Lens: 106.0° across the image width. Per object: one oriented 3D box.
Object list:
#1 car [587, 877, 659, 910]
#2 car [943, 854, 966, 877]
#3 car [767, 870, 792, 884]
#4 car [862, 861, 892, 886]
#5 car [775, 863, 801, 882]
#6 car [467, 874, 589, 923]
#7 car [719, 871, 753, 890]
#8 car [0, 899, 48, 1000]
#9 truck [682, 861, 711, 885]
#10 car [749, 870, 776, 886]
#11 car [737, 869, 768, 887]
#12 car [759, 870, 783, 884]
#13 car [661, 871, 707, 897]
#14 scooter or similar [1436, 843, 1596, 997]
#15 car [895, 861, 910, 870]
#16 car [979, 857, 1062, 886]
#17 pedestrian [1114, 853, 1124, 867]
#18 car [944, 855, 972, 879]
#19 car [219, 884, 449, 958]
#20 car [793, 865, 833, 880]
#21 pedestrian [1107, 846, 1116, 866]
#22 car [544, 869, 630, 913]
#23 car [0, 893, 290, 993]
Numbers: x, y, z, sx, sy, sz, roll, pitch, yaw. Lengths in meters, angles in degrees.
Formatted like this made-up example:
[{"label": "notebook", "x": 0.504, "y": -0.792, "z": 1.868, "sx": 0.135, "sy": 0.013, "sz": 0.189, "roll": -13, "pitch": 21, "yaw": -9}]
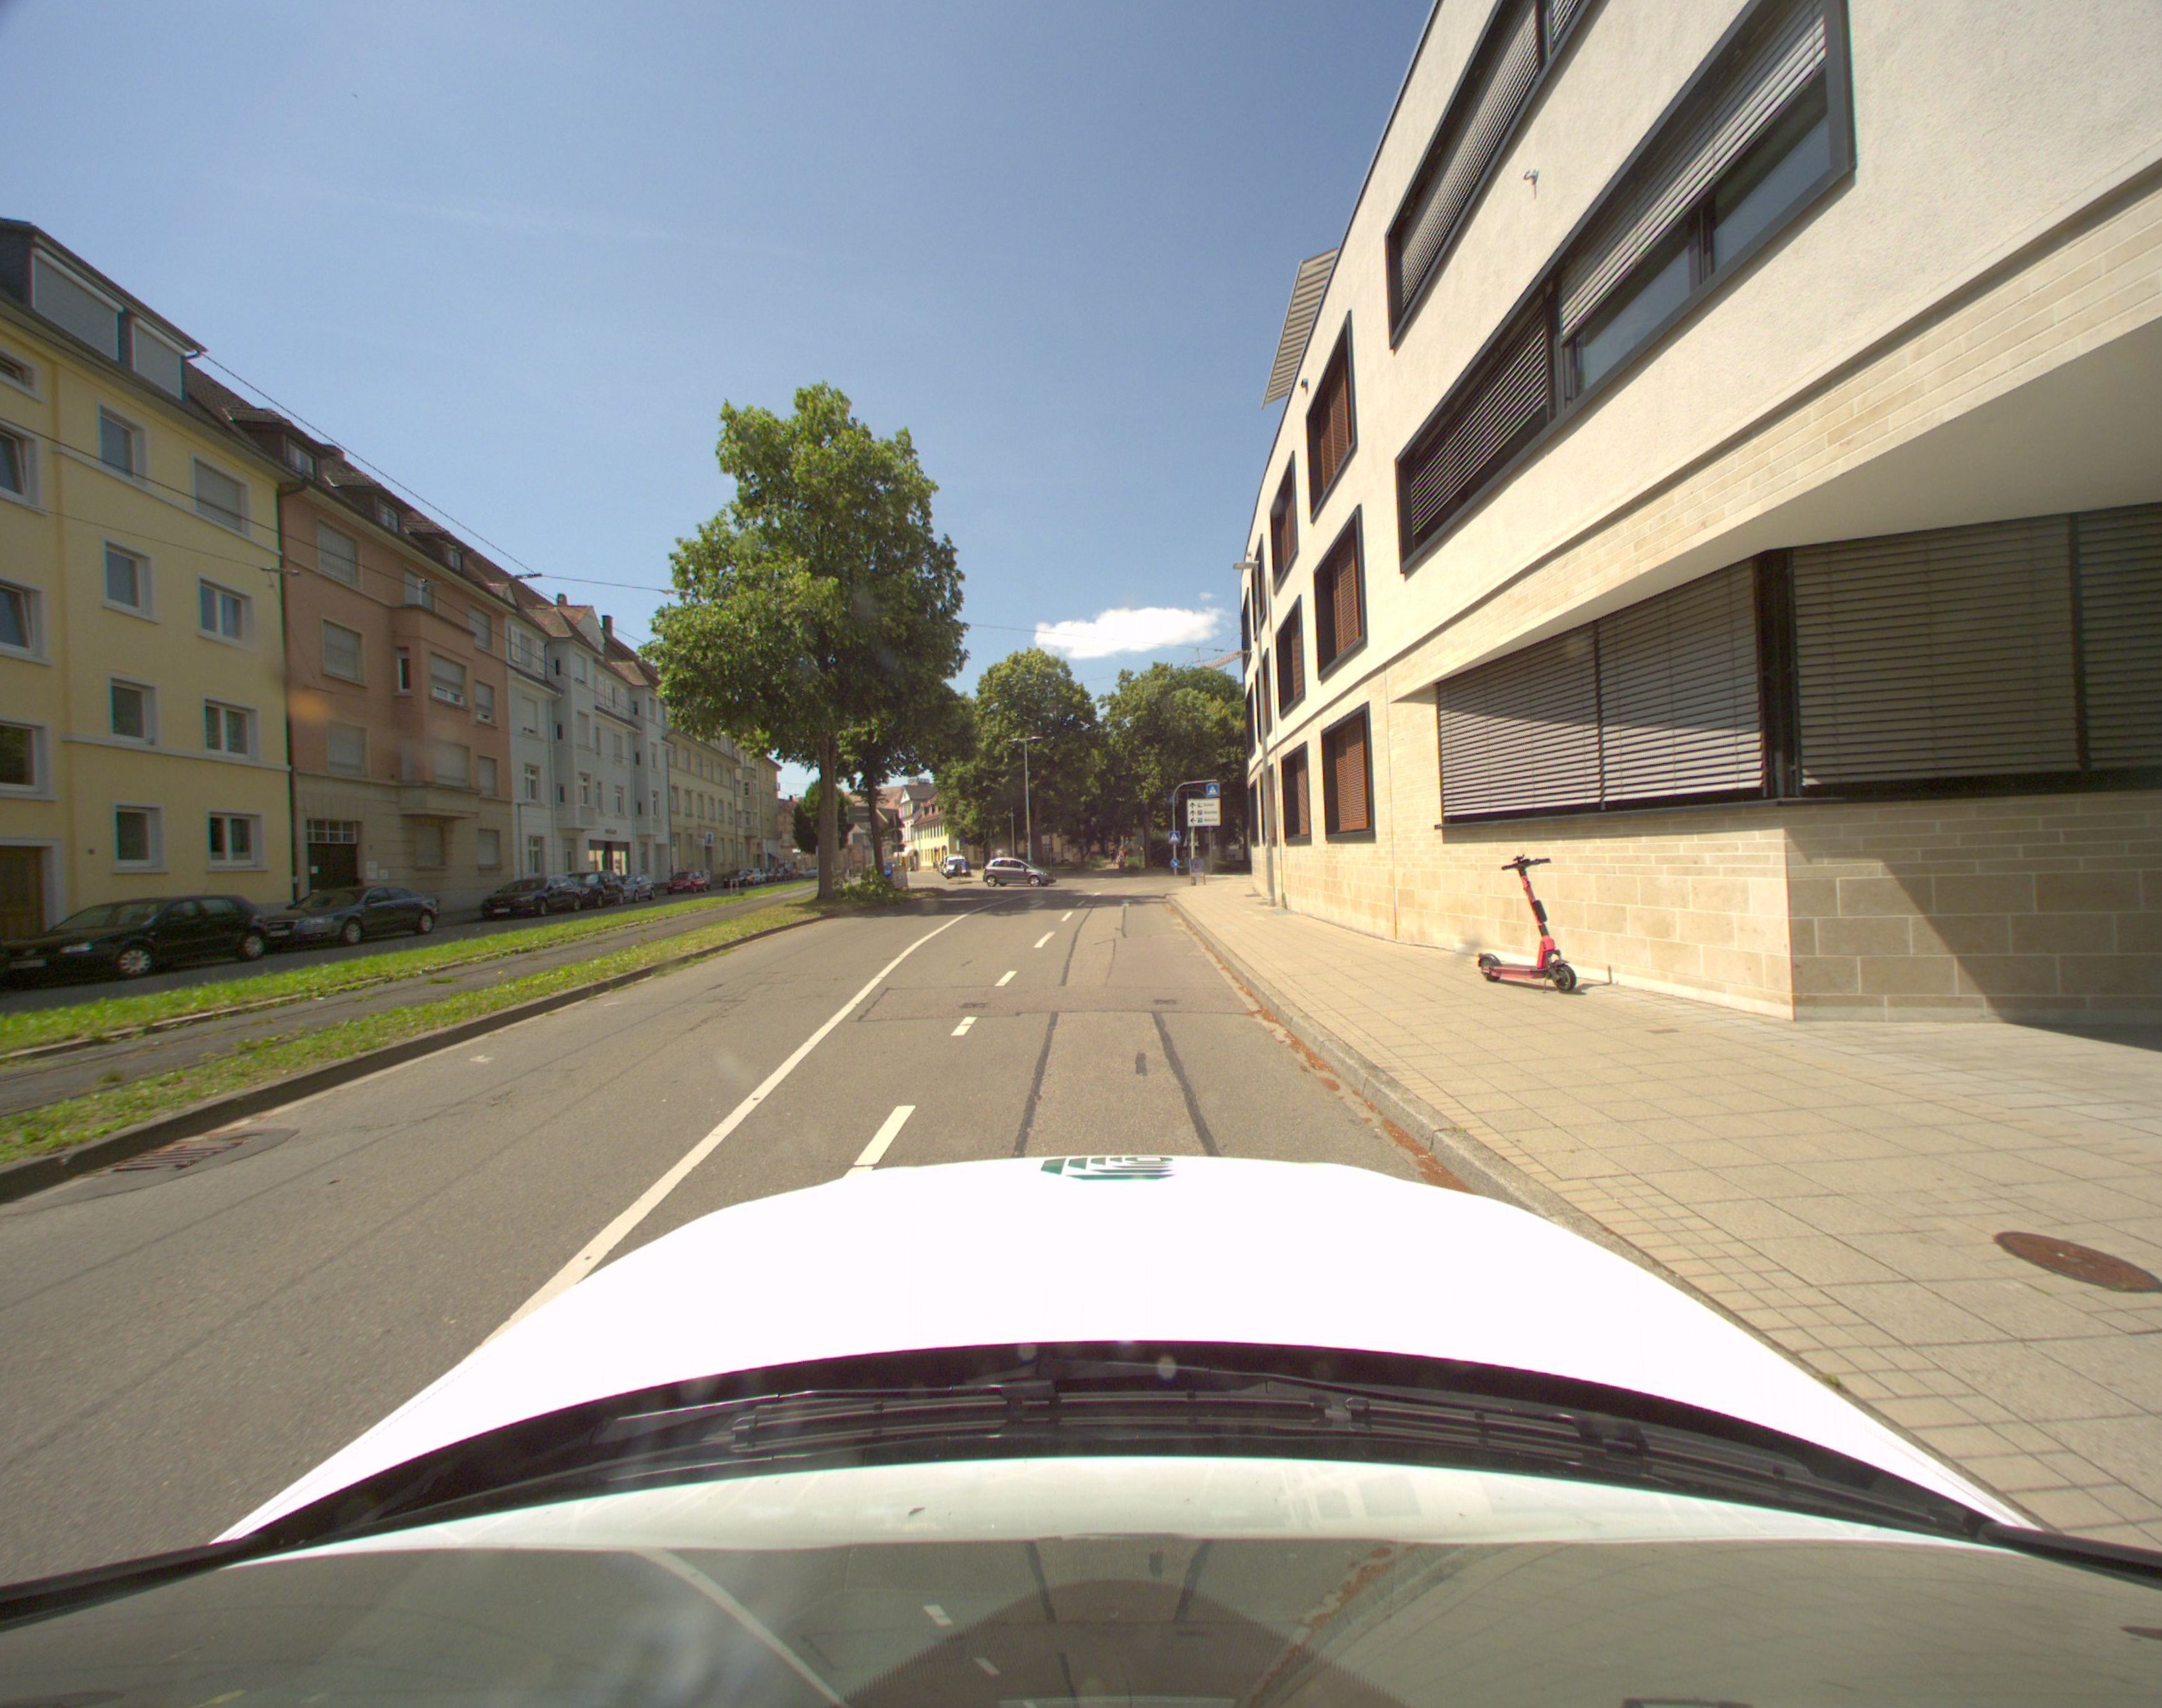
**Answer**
[{"label": "car", "x": -22.687, "y": 1.906, "z": 40.480, "sx": 1.808, "sy": 1.356, "sz": 4.233, "roll": -4, "pitch": 0, "yaw": -11}, {"label": "car", "x": -11.691, "y": 1.028, "z": 75.039, "sx": 2.049, "sy": 2.002, "sz": 5.231, "roll": -2, "pitch": 0, "yaw": -10}, {"label": "car", "x": -31.314, "y": 2.327, "z": 84.607, "sx": 1.642, "sy": 1.278, "sz": 4.247, "roll": -4, "pitch": 0, "yaw": -11}, {"label": "car", "x": -13.843, "y": 1.285, "z": 55.340, "sx": 1.812, "sy": 1.492, "sz": 3.981, "roll": -2, "pitch": 1, "yaw": -14}, {"label": "car", "x": -32.208, "y": 2.046, "z": 89.614, "sx": 1.854, "sy": 1.911, "sz": 4.752, "roll": -4, "pitch": 0, "yaw": -11}, {"label": "car", "x": -20.590, "y": 1.582, "z": 30.607, "sx": 1.929, "sy": 1.490, "sz": 4.844, "roll": -4, "pitch": 0, "yaw": -11}, {"label": "car", "x": -27.685, "y": 2.098, "z": 65.413, "sx": 1.687, "sy": 1.360, "sz": 3.842, "roll": -4, "pitch": 0, "yaw": -11}, {"label": "car", "x": -16.982, "y": 1.496, "z": 10.667, "sx": 1.930, "sy": 1.505, "sz": 4.306, "roll": -3, "pitch": 0, "yaw": -13}, {"label": "truck", "x": -25.876, "y": 1.288, "z": 54.898, "sx": 1.127, "sy": 1.494, "sz": 2.583, "roll": -4, "pitch": 0, "yaw": -12}, {"label": "car", "x": -29.600, "y": 2.194, "z": 75.846, "sx": 1.687, "sy": 1.278, "sz": 3.276, "roll": -4, "pitch": 0, "yaw": -11}, {"label": "car", "x": -28.622, "y": 2.112, "z": 71.098, "sx": 1.687, "sy": 1.390, "sz": 3.842, "roll": -4, "pitch": 0, "yaw": -11}, {"label": "car", "x": -30.491, "y": 2.256, "z": 80.224, "sx": 1.603, "sy": 1.278, "sz": 3.572, "roll": -4, "pitch": 0, "yaw": -11}, {"label": "car", "x": -24.724, "y": 1.849, "z": 50.817, "sx": 1.572, "sy": 1.451, "sz": 3.611, "roll": -4, "pitch": 0, "yaw": -11}, {"label": "scooter or similar", "x": 3.994, "y": 0.564, "z": 7.595, "sx": 0.580, "sy": 1.260, "sz": 1.365, "roll": -4, "pitch": -1, "yaw": -5}, {"label": "car", "x": -28.490, "y": 1.841, "z": 130.045, "sx": 1.865, "sy": 1.486, "sz": 3.976, "roll": -2, "pitch": -1, "yaw": -18}, {"label": "car", "x": -3.398, "y": 0.988, "z": 45.657, "sx": 4.195, "sy": 1.534, "sz": 1.918, "roll": -1, "pitch": -1, "yaw": 18}, {"label": "pedestrian", "x": 3.643, "y": 0.527, "z": 77.236, "sx": 0.902, "sy": 1.252, "sz": 1.149, "roll": -2, "pitch": 1, "yaw": 4}, {"label": "car", "x": -10.117, "y": 1.039, "z": 66.848, "sx": 1.995, "sy": 1.826, "sz": 4.404, "roll": -2, "pitch": 0, "yaw": -11}, {"label": "car", "x": -18.669, "y": 1.591, "z": 20.751, "sx": 1.928, "sy": 1.398, "sz": 4.846, "roll": -4, "pitch": 0, "yaw": -10}, {"label": "car", "x": -31.445, "y": 2.142, "z": 95.712, "sx": 4.211, "sy": 1.505, "sz": 1.993, "roll": -4, "pitch": 0, "yaw": -16}, {"label": "pedestrian", "x": 2.895, "y": 0.182, "z": 78.004, "sx": 0.744, "sy": 1.910, "sz": 0.685, "roll": -2, "pitch": 1, "yaw": 4}, {"label": "car", "x": -21.694, "y": 1.586, "z": 35.957, "sx": 1.837, "sy": 1.685, "sz": 4.126, "roll": -4, "pitch": 0, "yaw": -11}, {"label": "car", "x": -17.662, "y": 1.570, "z": 15.405, "sx": 1.832, "sy": 1.400, "sz": 4.126, "roll": -3, "pitch": 0, "yaw": -11}]
